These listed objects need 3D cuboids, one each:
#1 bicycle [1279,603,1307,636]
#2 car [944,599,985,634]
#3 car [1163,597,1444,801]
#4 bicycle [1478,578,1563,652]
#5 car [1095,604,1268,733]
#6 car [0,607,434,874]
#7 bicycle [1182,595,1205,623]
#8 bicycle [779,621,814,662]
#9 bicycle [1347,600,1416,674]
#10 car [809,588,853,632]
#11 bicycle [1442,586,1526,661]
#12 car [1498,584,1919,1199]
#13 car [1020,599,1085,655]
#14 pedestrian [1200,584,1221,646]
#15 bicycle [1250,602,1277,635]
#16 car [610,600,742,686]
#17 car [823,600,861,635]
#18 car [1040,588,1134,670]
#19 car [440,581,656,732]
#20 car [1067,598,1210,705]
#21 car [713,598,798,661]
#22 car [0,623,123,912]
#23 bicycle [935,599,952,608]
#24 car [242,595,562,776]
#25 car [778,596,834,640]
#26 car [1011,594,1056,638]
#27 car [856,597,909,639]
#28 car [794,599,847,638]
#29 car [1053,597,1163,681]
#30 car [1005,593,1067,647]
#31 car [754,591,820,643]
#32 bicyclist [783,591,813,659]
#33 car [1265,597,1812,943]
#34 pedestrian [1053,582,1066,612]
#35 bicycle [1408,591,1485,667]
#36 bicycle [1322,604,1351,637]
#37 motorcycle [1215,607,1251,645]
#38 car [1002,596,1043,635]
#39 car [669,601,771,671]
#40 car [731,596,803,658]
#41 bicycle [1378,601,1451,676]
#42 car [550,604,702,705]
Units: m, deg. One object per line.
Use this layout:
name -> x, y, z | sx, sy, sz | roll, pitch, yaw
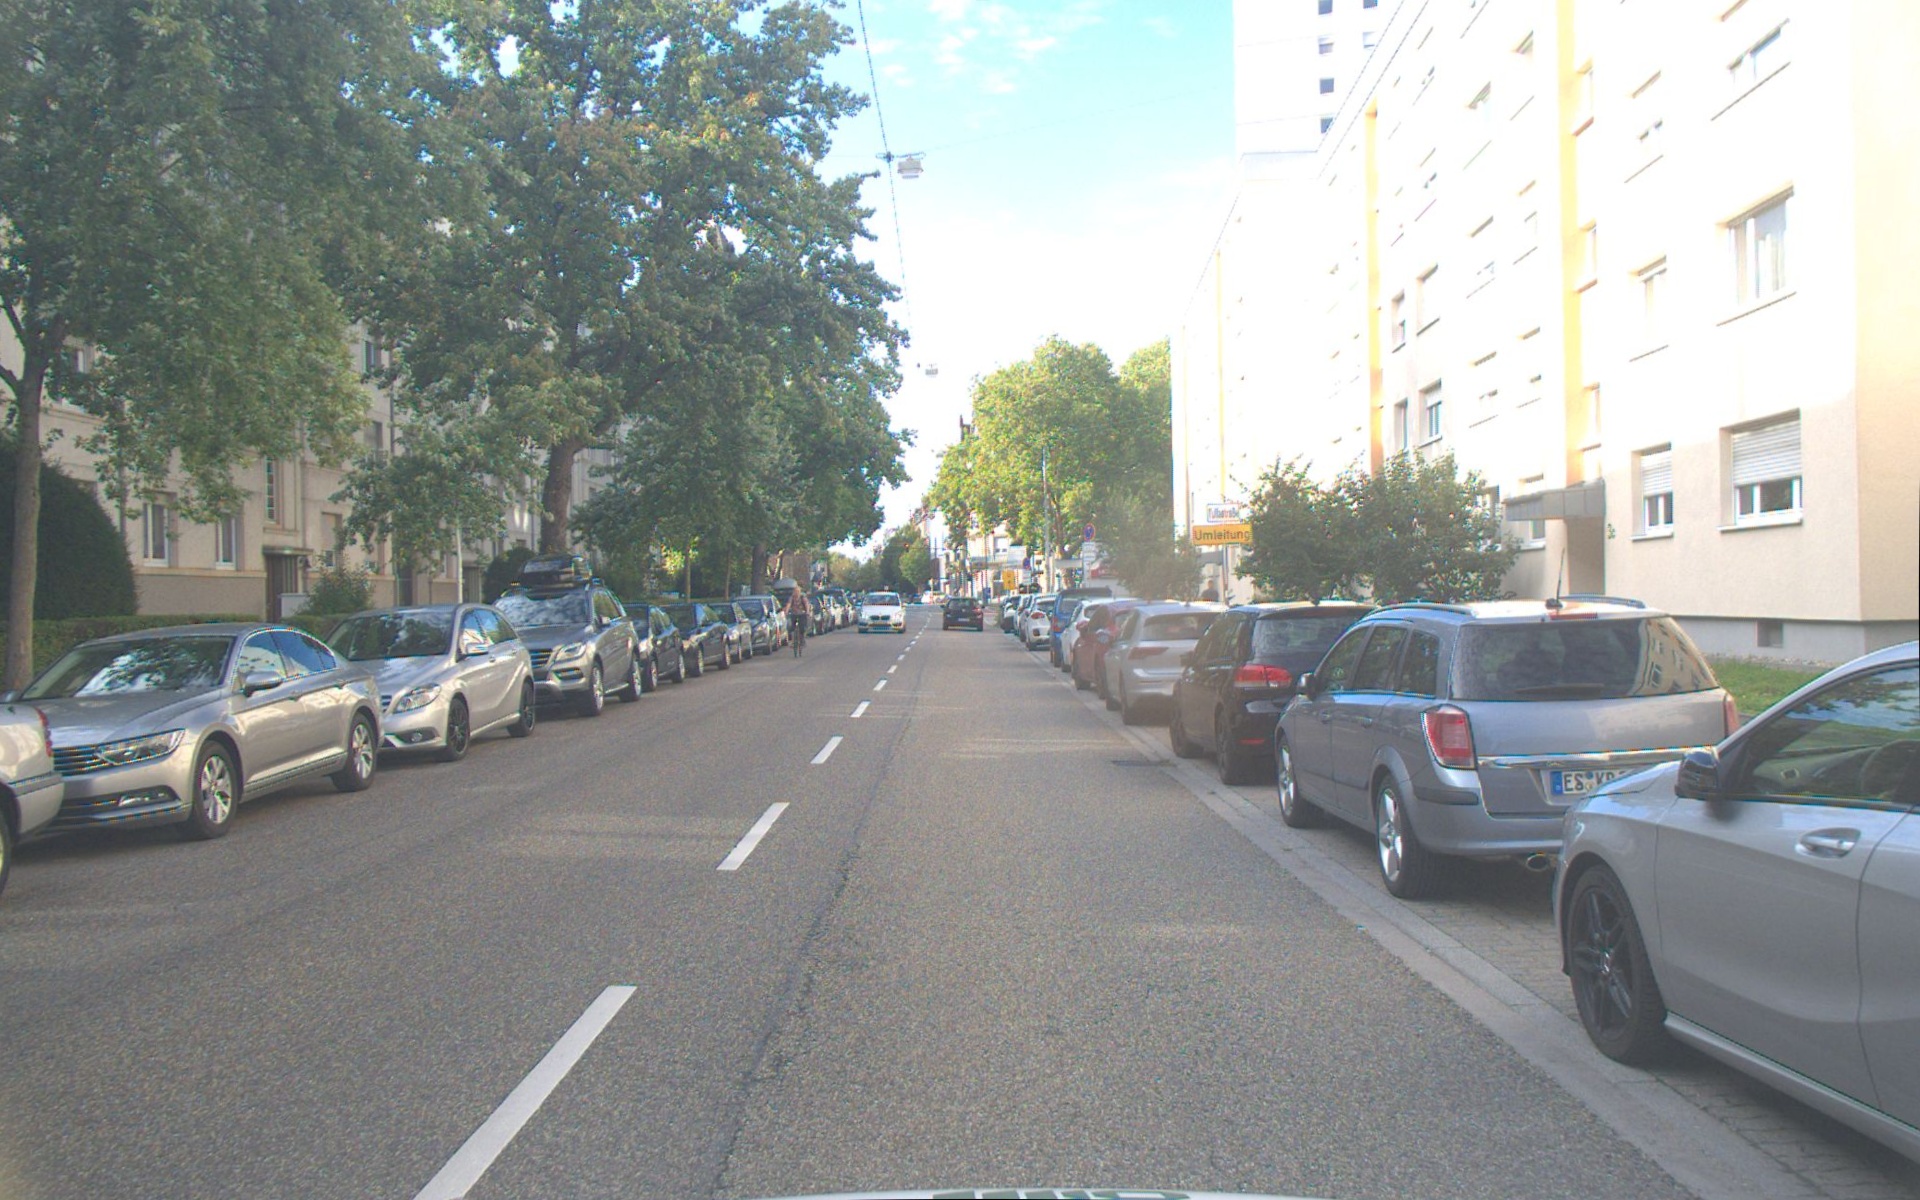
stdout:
bicycle -> 9.832, 0.566, 48.863 | 0.449, 0.943, 1.516 | -2, 0, -1
car -> 0.164, 0.684, 71.241 | 1.716, 1.438, 3.999 | -1, 0, -1
car -> 2.942, 0.780, 14.958 | 1.628, 1.517, 3.941 | -3, 0, -1
bicycle -> 10.501, 0.272, 31.097 | 0.711, 1.313, 2.635 | 0, 0, 0
car -> 2.787, 0.821, 21.619 | 1.628, 1.440, 4.058 | -3, 0, -1
car -> -5.741, 0.898, 12.602 | 1.818, 1.511, 4.944 | -4, 0, 0
bicycle -> 9.664, 0.367, 68.461 | 0.585, 1.134, 2.209 | -2, 0, 0
bicycle -> -3.945, 0.981, 40.015 | 0.629, 0.940, 1.858 | -1, 0, 0
bicycle -> 7.877, 0.660, 30.999 | 0.591, 1.313, 2.635 | -2, 0, 0
car -> -6.044, 0.433, 77.870 | 1.688, 1.915, 4.191 | -3, 0, -1
bicycle -> 9.799, 0.424, 31.026 | 0.711, 1.313, 2.635 | -2, 0, 0
car -> 2.996, 0.719, 4.279 | 1.666, 1.489, 4.178 | -2, 0, -2
car -> 2.619, 0.754, 47.736 | 1.693, 1.514, 4.642 | -1, 0, 1
pedestrian -> 7.128, 0.426, 47.069 | 0.530, 1.751, 0.772 | -1, 0, 5
bicycle -> 9.017, 0.541, 49.145 | 0.449, 0.958, 1.516 | -2, 0, -1
car -> -5.753, 0.832, 33.986 | 1.650, 1.506, 4.453 | -5, 0, 3
car -> -6.199, 0.912, 87.498 | 1.763, 1.648, 3.801 | -3, 0, -2
car -> 2.829, 0.623, 37.570 | 1.693, 1.678, 4.116 | -2, 0, -1
car -> -5.717, 0.713, 23.599 | 1.839, 1.824, 4.969 | -3, 0, -1
car -> 2.828, 0.773, 27.054 | 1.694, 1.542, 4.189 | -2, 0, -2
car -> -5.434, 0.764, 44.264 | 1.581, 1.493, 4.014 | -4, 0, 1
car -> -5.657, 0.908, 7.143 | 1.703, 1.417, 4.665 | -4, 0, -1
bicycle -> -2.053, 0.433, 206.634 | 1.988, 1.101, 0.618 | -1, 0, -14
car -> -5.768, 0.794, 17.743 | 1.817, 1.600, 4.460 | -3, 0, 1
car -> -5.893, 0.672, 63.513 | 1.665, 1.512, 3.848 | -3, 0, 1
car -> 2.744, 0.591, 62.277 | 1.519, 1.584, 3.468 | -1, 0, 0
car -> -2.979, 0.675, 64.408 | 1.821, 1.555, 4.011 | -1, 0, 1
car -> -6.082, 0.788, 72.435 | 1.659, 1.519, 4.334 | -3, 0, 3
car -> 2.863, 0.724, 32.758 | 1.693, 1.486, 4.116 | -2, 0, -1
car -> 2.429, 0.630, 53.735 | 1.693, 1.608, 4.116 | -2, 0, -1
car -> -6.167, 0.580, 59.329 | 1.762, 1.697, 4.483 | -3, 0, 1
bicyclist -> -3.914, 0.594, 39.983 | 0.628, 1.629, 0.990 | -1, 0, 0
car -> 3.040, 0.771, 9.703 | 1.649, 1.511, 4.293 | -2, 0, 0
pedestrian -> 5.626, -0.192, 93.555 | 0.639, 1.674, 0.743 | -1, 0, -1
bicycle -> 9.090, 0.519, 31.016 | 0.583, 1.313, 2.635 | -4, 0, 0
bicycle -> 11.156, 0.599, 49.002 | 0.449, 0.943, 1.516 | -2, 0, -1
motorcycle -> 8.110, 0.762, 49.190 | 0.617, 1.063, 2.393 | -1, 0, -1
car -> 2.576, 0.619, 68.190 | 1.654, 1.555, 4.239 | -1, 0, 2
car -> -5.676, 0.813, 39.535 | 1.567, 1.443, 3.966 | -4, 0, 3
car -> -5.743, 0.776, 49.648 | 1.704, 1.648, 3.993 | -4, 0, -2
bicycle -> 8.502, 0.690, 31.031 | 0.592, 1.313, 2.635 | -3, 0, 0
car -> -5.839, 0.904, 29.343 | 1.651, 1.506, 4.120 | -5, 0, 2
